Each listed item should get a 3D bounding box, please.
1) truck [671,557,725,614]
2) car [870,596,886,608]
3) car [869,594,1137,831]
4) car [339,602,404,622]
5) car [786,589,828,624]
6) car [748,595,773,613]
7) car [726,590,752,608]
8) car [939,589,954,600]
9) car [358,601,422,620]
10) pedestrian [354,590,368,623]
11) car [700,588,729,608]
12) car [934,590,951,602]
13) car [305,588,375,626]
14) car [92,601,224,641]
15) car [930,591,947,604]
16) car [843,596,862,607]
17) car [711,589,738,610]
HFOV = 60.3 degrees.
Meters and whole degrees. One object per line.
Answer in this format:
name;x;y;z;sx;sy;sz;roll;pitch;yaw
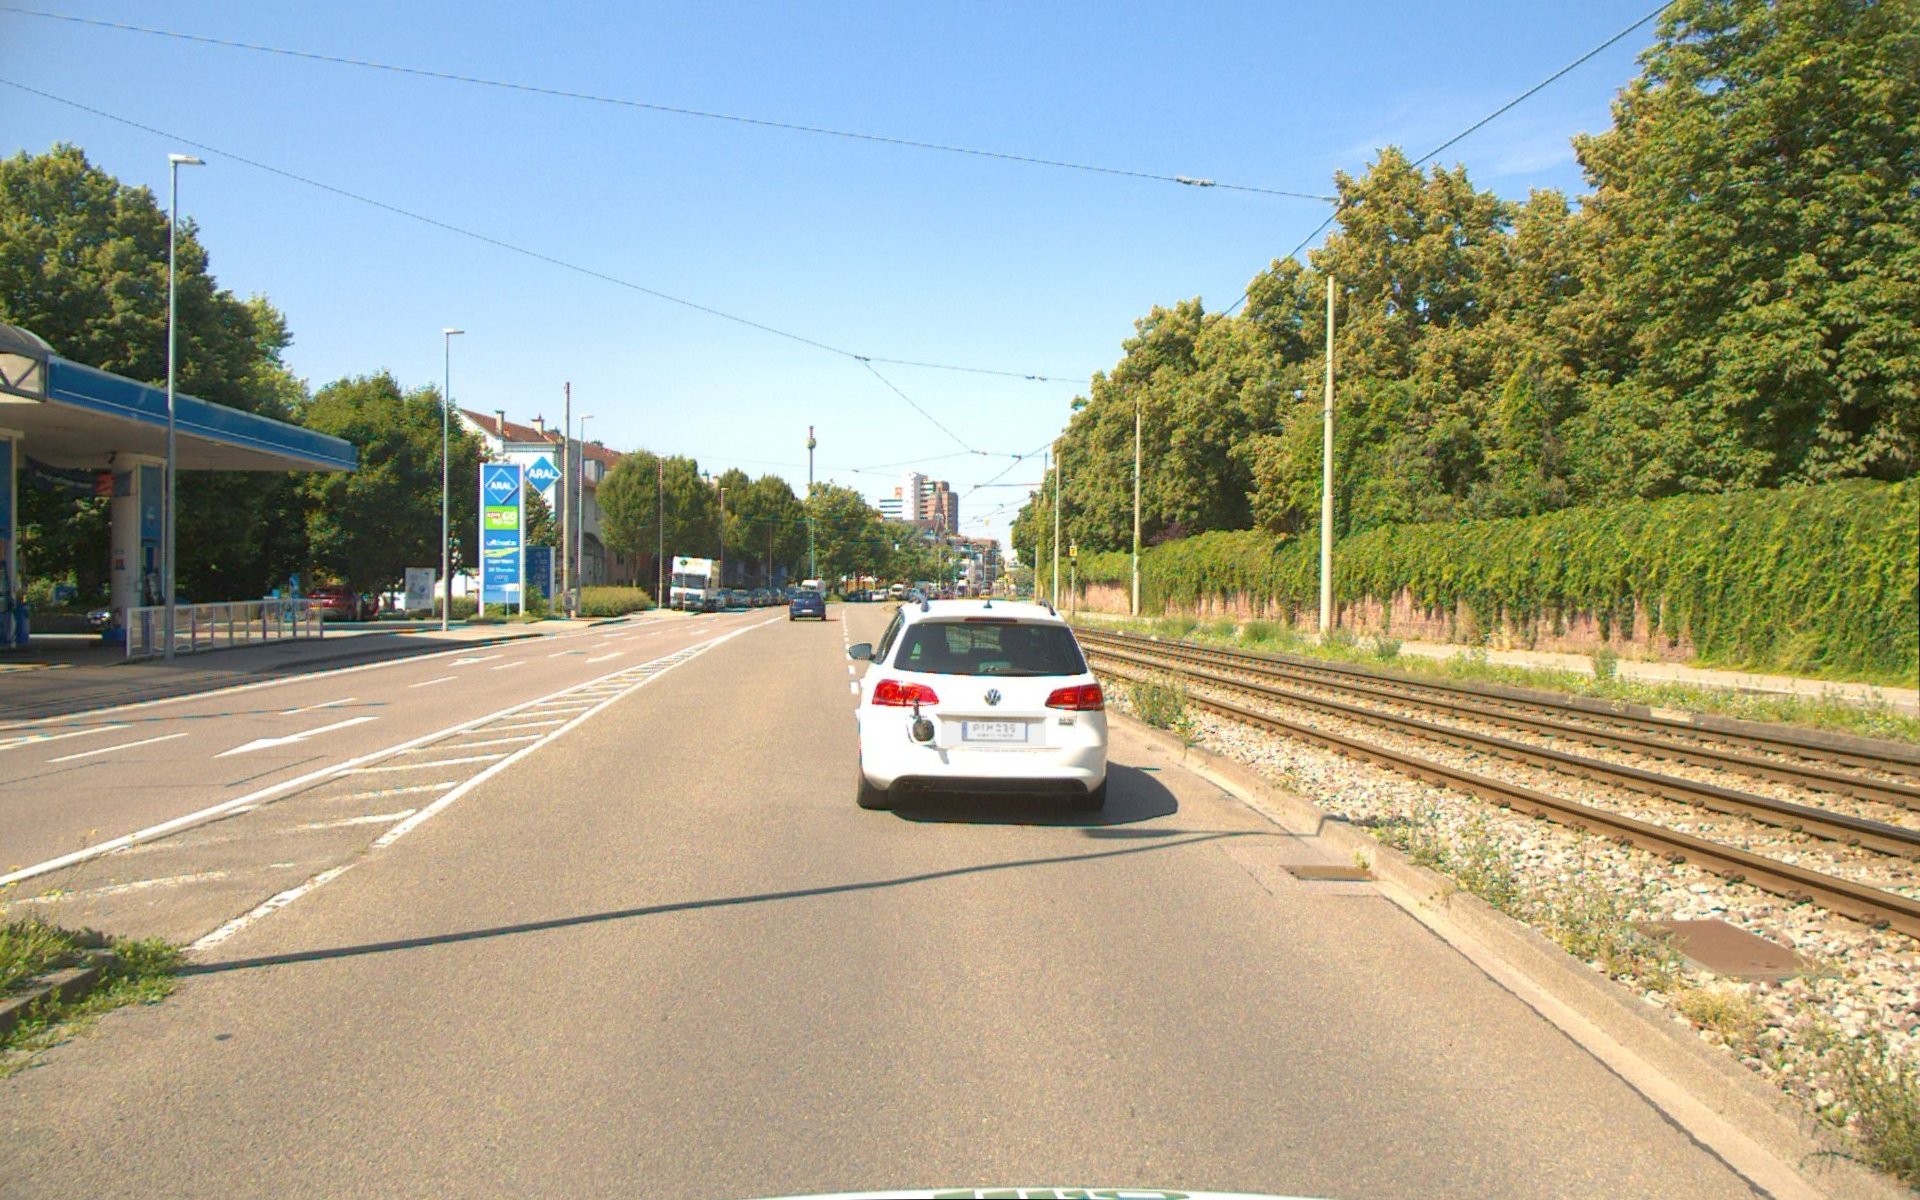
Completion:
truck;-17.652;-0.952;111.860;2.614;3.592;8.585;2;0;-3
car;-10.160;0.261;205.944;1.624;1.445;4.310;-2;0;1
car;0.154;0.710;12.761;1.658;1.476;4.455;1;0;-4
car;-37.175;0.746;104.531;3.572;1.226;1.576;0;0;7
car;-7.195;0.291;78.288;1.764;1.533;3.998;1;1;-3
car;-18.686;0.381;155.230;1.681;1.653;4.313;2;0;1
car;-19.016;-0.072;142.569;1.745;1.509;4.855;2;-1;-2
car;-1.788;-0.790;226.675;1.762;1.486;4.002;0;0;4
car;-36.777;0.680;106.812;3.572;1.226;1.576;0;0;7
pedestrian;-27.688;0.309;76.430;0.489;1.507;0.500;0;0;-4
car;-18.457;-0.127;124.364;1.722;1.454;4.279;2;0;-3
car;-2.300;-0.525;218.271;1.763;1.486;4.002;1;0;4
car;-28.407;0.294;75.881;1.764;1.597;4.515;0;2;-4
car;-28.492;0.726;58.933;1.762;1.369;4.245;0;0;19
car;-2.724;-0.333;212.620;1.763;1.534;4.002;1;0;4
car;-14.025;0.180;215.641;1.663;1.442;4.003;0;0;8
car;-18.740;-0.062;131.928;1.696;1.579;4.316;1;0;-3
